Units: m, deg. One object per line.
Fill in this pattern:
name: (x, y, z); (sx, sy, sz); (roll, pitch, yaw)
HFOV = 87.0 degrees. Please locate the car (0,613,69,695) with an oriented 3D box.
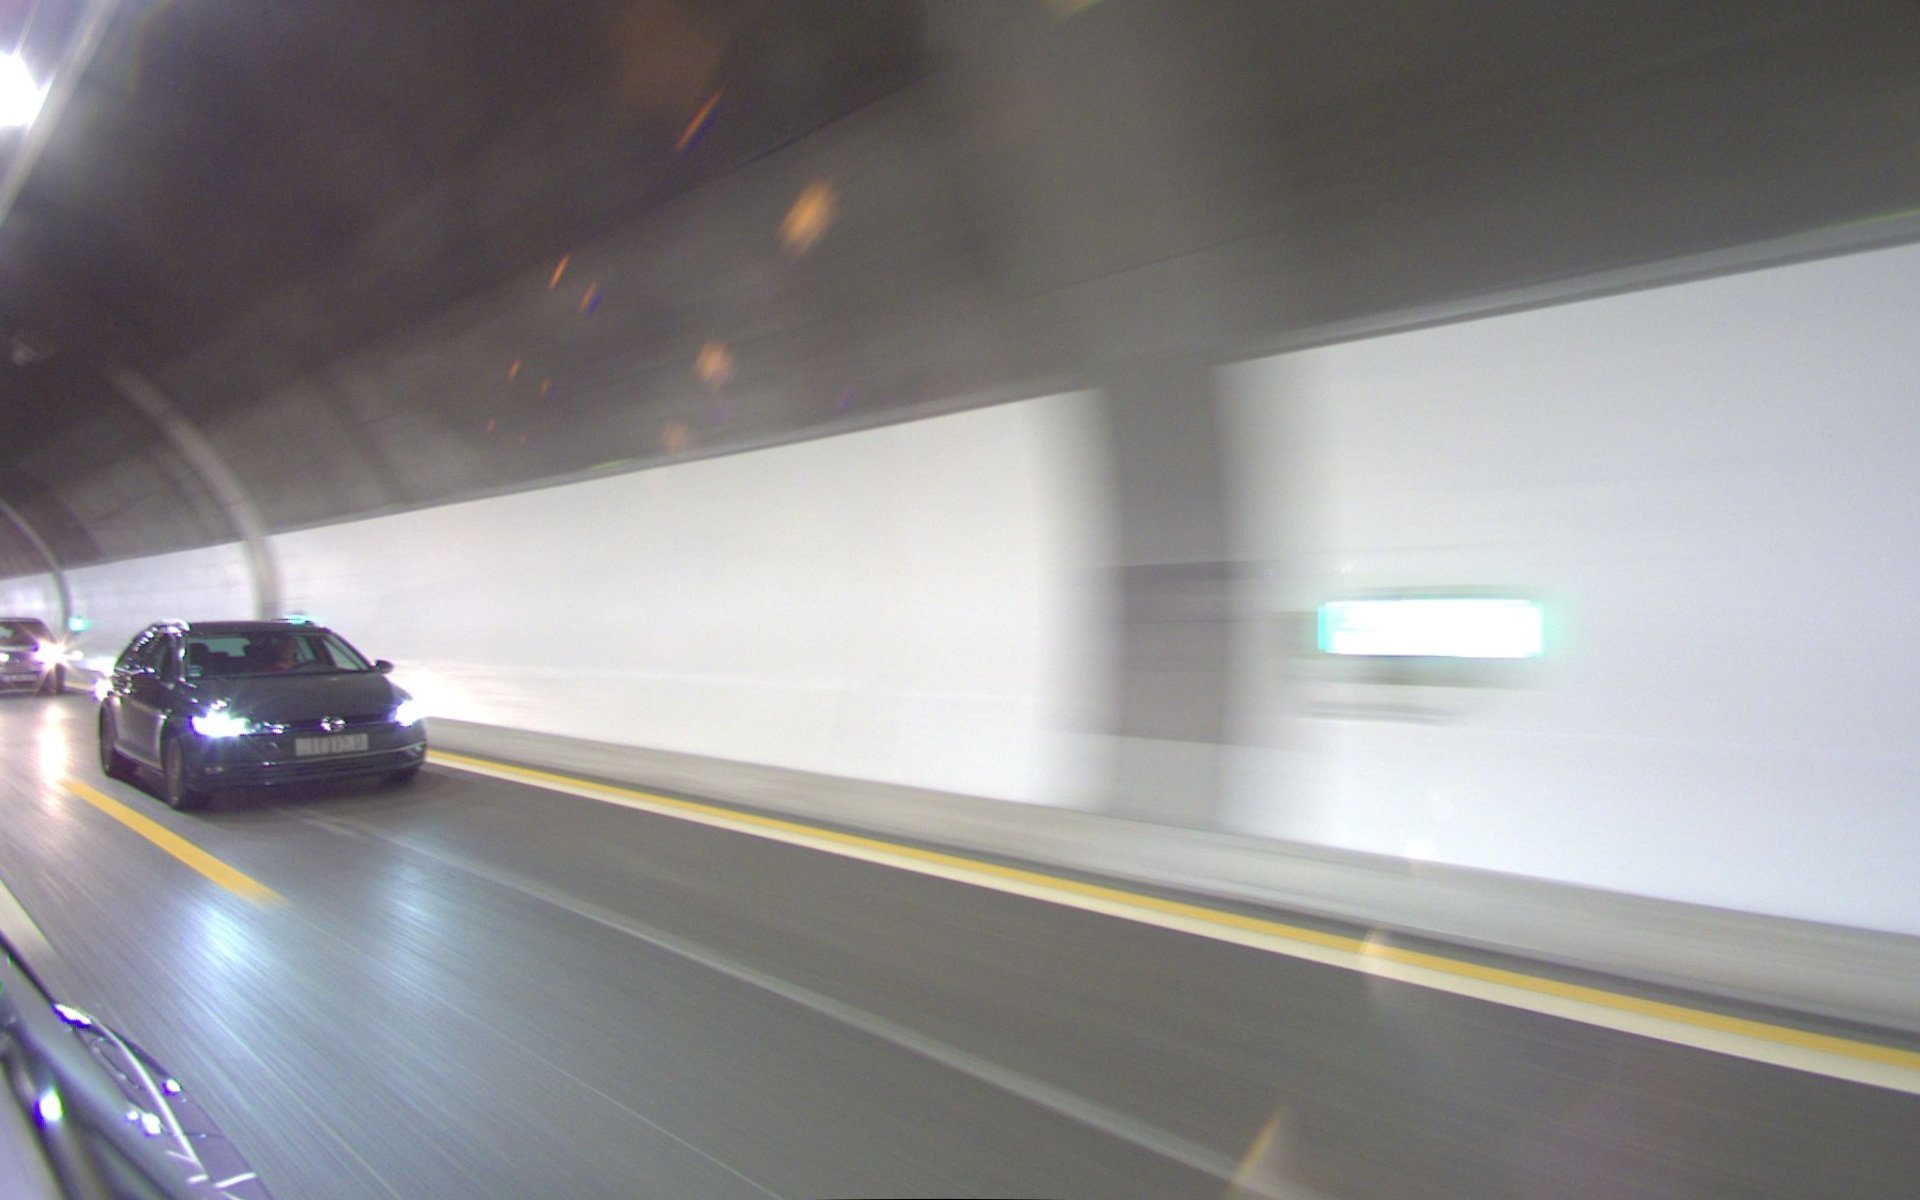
car: (-18.912, 1.049, 20.073); (2.650, 1.528, 1.511); (-1, -1, 41)

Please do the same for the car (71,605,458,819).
car: (-6.532, 0.821, 9.242); (4.880, 1.449, 1.759); (-1, -1, 41)
